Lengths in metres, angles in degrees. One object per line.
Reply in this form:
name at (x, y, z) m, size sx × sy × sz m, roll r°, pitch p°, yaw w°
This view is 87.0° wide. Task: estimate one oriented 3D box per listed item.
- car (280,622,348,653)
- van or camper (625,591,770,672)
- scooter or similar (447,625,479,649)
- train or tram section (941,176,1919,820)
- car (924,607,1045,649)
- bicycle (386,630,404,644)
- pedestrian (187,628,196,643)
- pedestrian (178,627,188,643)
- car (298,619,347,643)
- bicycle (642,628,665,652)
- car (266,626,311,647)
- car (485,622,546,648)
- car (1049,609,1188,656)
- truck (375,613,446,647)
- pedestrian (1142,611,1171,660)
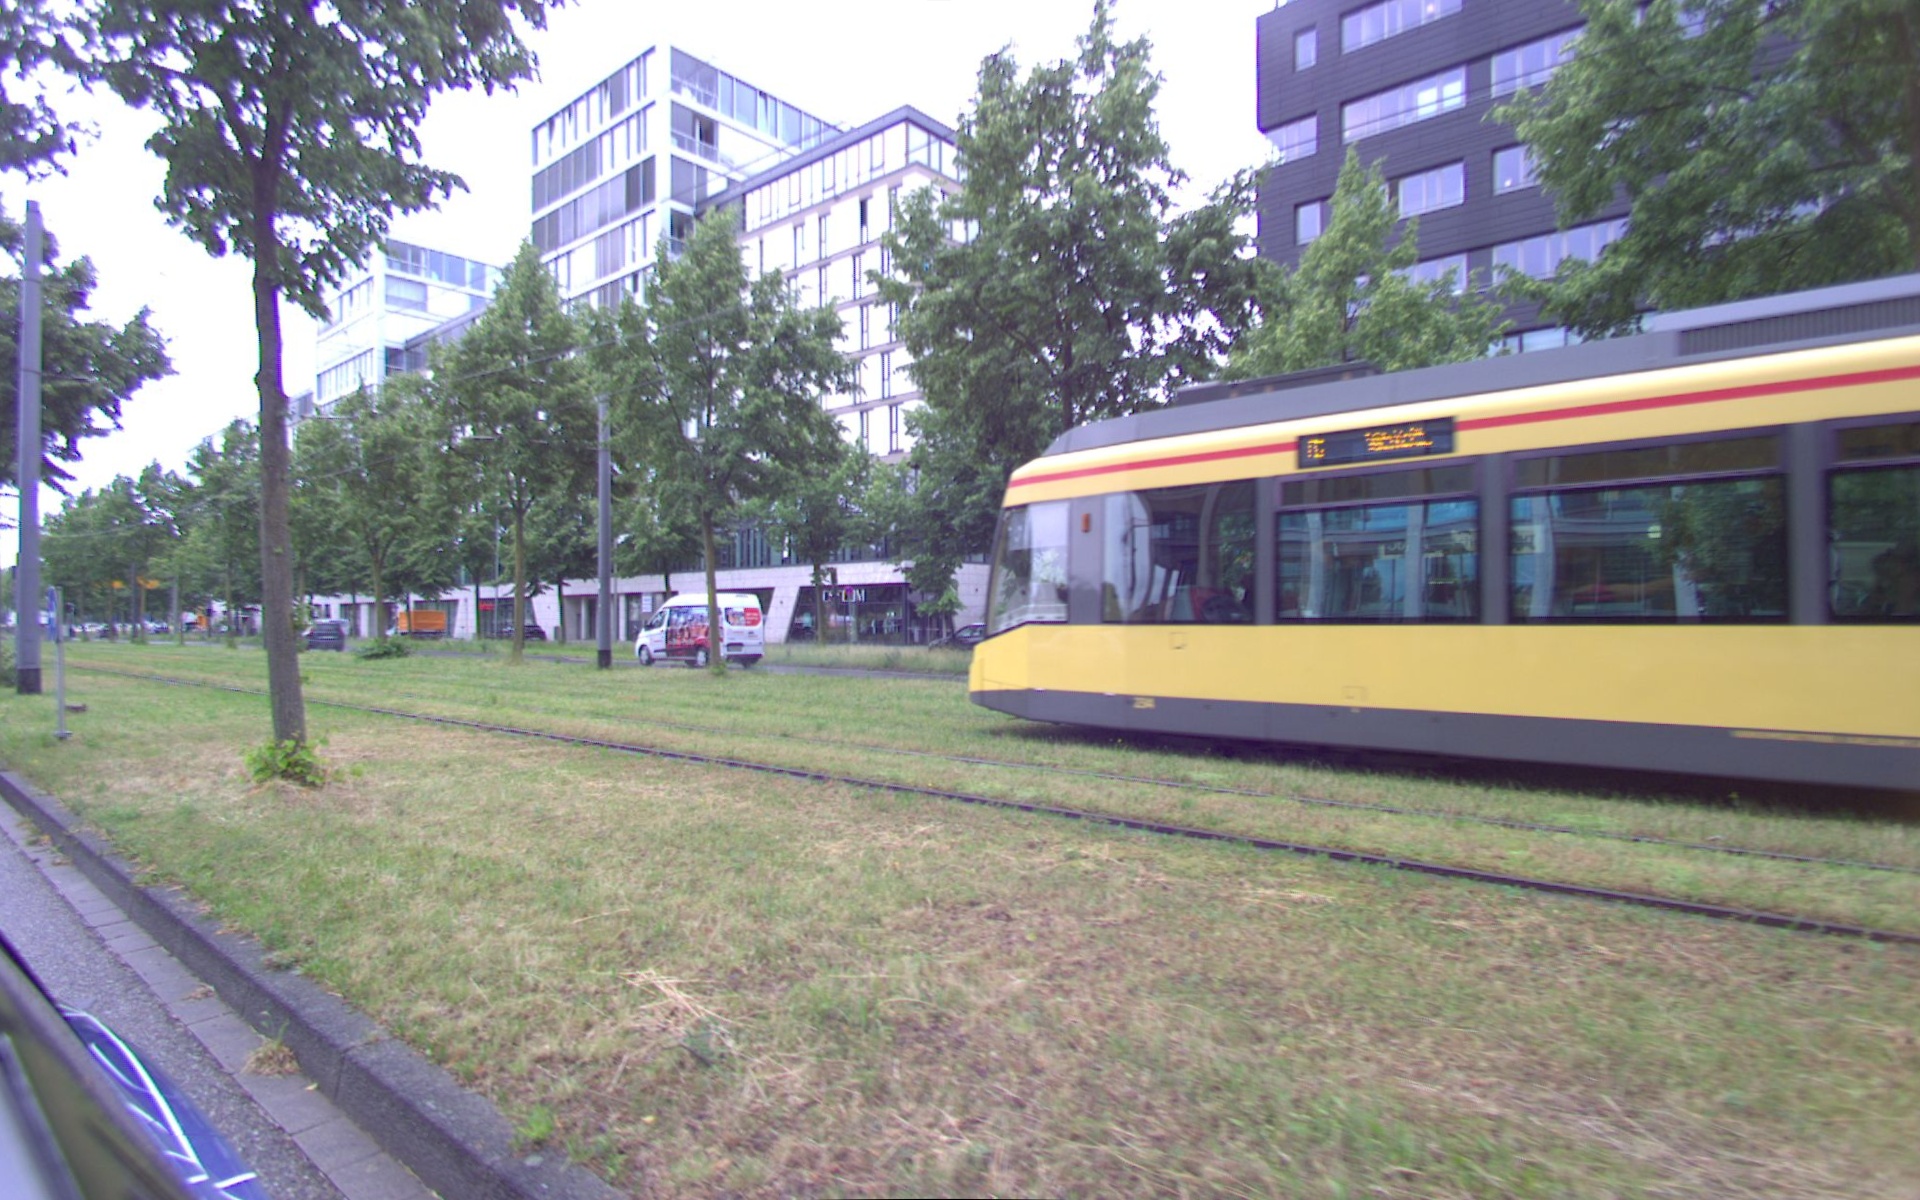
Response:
car at (-33.557, 1.924, 52.520) m, size 4.477 × 1.536 × 1.843 m, roll -2°, pitch -1°, yaw 42°
van or camper at (-8.605, 1.017, 32.916) m, size 5.400 × 2.429 × 1.889 m, roll -2°, pitch -2°, yaw 42°
scooter or similar at (-40.017, 2.955, 81.503) m, size 0.883 × 1.838 × 2.105 m, roll -2°, pitch -1°, yaw 37°
train or tram section at (5.870, -0.569, 7.520) m, size 13.399 × 3.686 × 3.096 m, roll -2°, pitch -1°, yaw 41°
car at (0.839, 0.988, 36.202) m, size 3.998 × 1.389 × 1.973 m, roll -1°, pitch -1°, yaw 41°
bicycle at (-38.057, 2.476, 68.146) m, size 1.758 × 0.952 × 0.592 m, roll -2°, pitch -2°, yaw 45°
pedestrian at (-86.702, 3.983, 114.123) m, size 0.793 × 1.704 × 0.703 m, roll -2°, pitch -1°, yaw 44°
pedestrian at (-87.083, 3.939, 113.429) m, size 0.793 × 1.704 × 0.703 m, roll -2°, pitch -1°, yaw 44°
car at (-52.321, 2.541, 83.049) m, size 5.161 × 1.866 × 1.973 m, roll -2°, pitch -1°, yaw 40°
bicycle at (-20.333, 2.637, 67.116) m, size 0.546 × 1.494 × 1.417 m, roll -2°, pitch -1°, yaw 40°
car at (-58.770, 3.183, 88.548) m, size 4.461 × 1.725 × 2.122 m, roll -2°, pitch -1°, yaw 41°
car at (-26.387, 2.050, 60.028) m, size 3.986 × 1.476 × 1.836 m, roll -2°, pitch -1°, yaw 41°
car at (5.041, 1.023, 32.475) m, size 3.998 × 1.389 × 1.973 m, roll -1°, pitch -1°, yaw 41°
truck at (-39.360, 2.123, 72.379) m, size 6.305 × 2.309 × 2.401 m, roll -2°, pitch -1°, yaw 41°
pedestrian at (8.148, 1.471, 42.053) m, size 0.784 × 1.996 × 0.857 m, roll 0°, pitch -1°, yaw -41°
